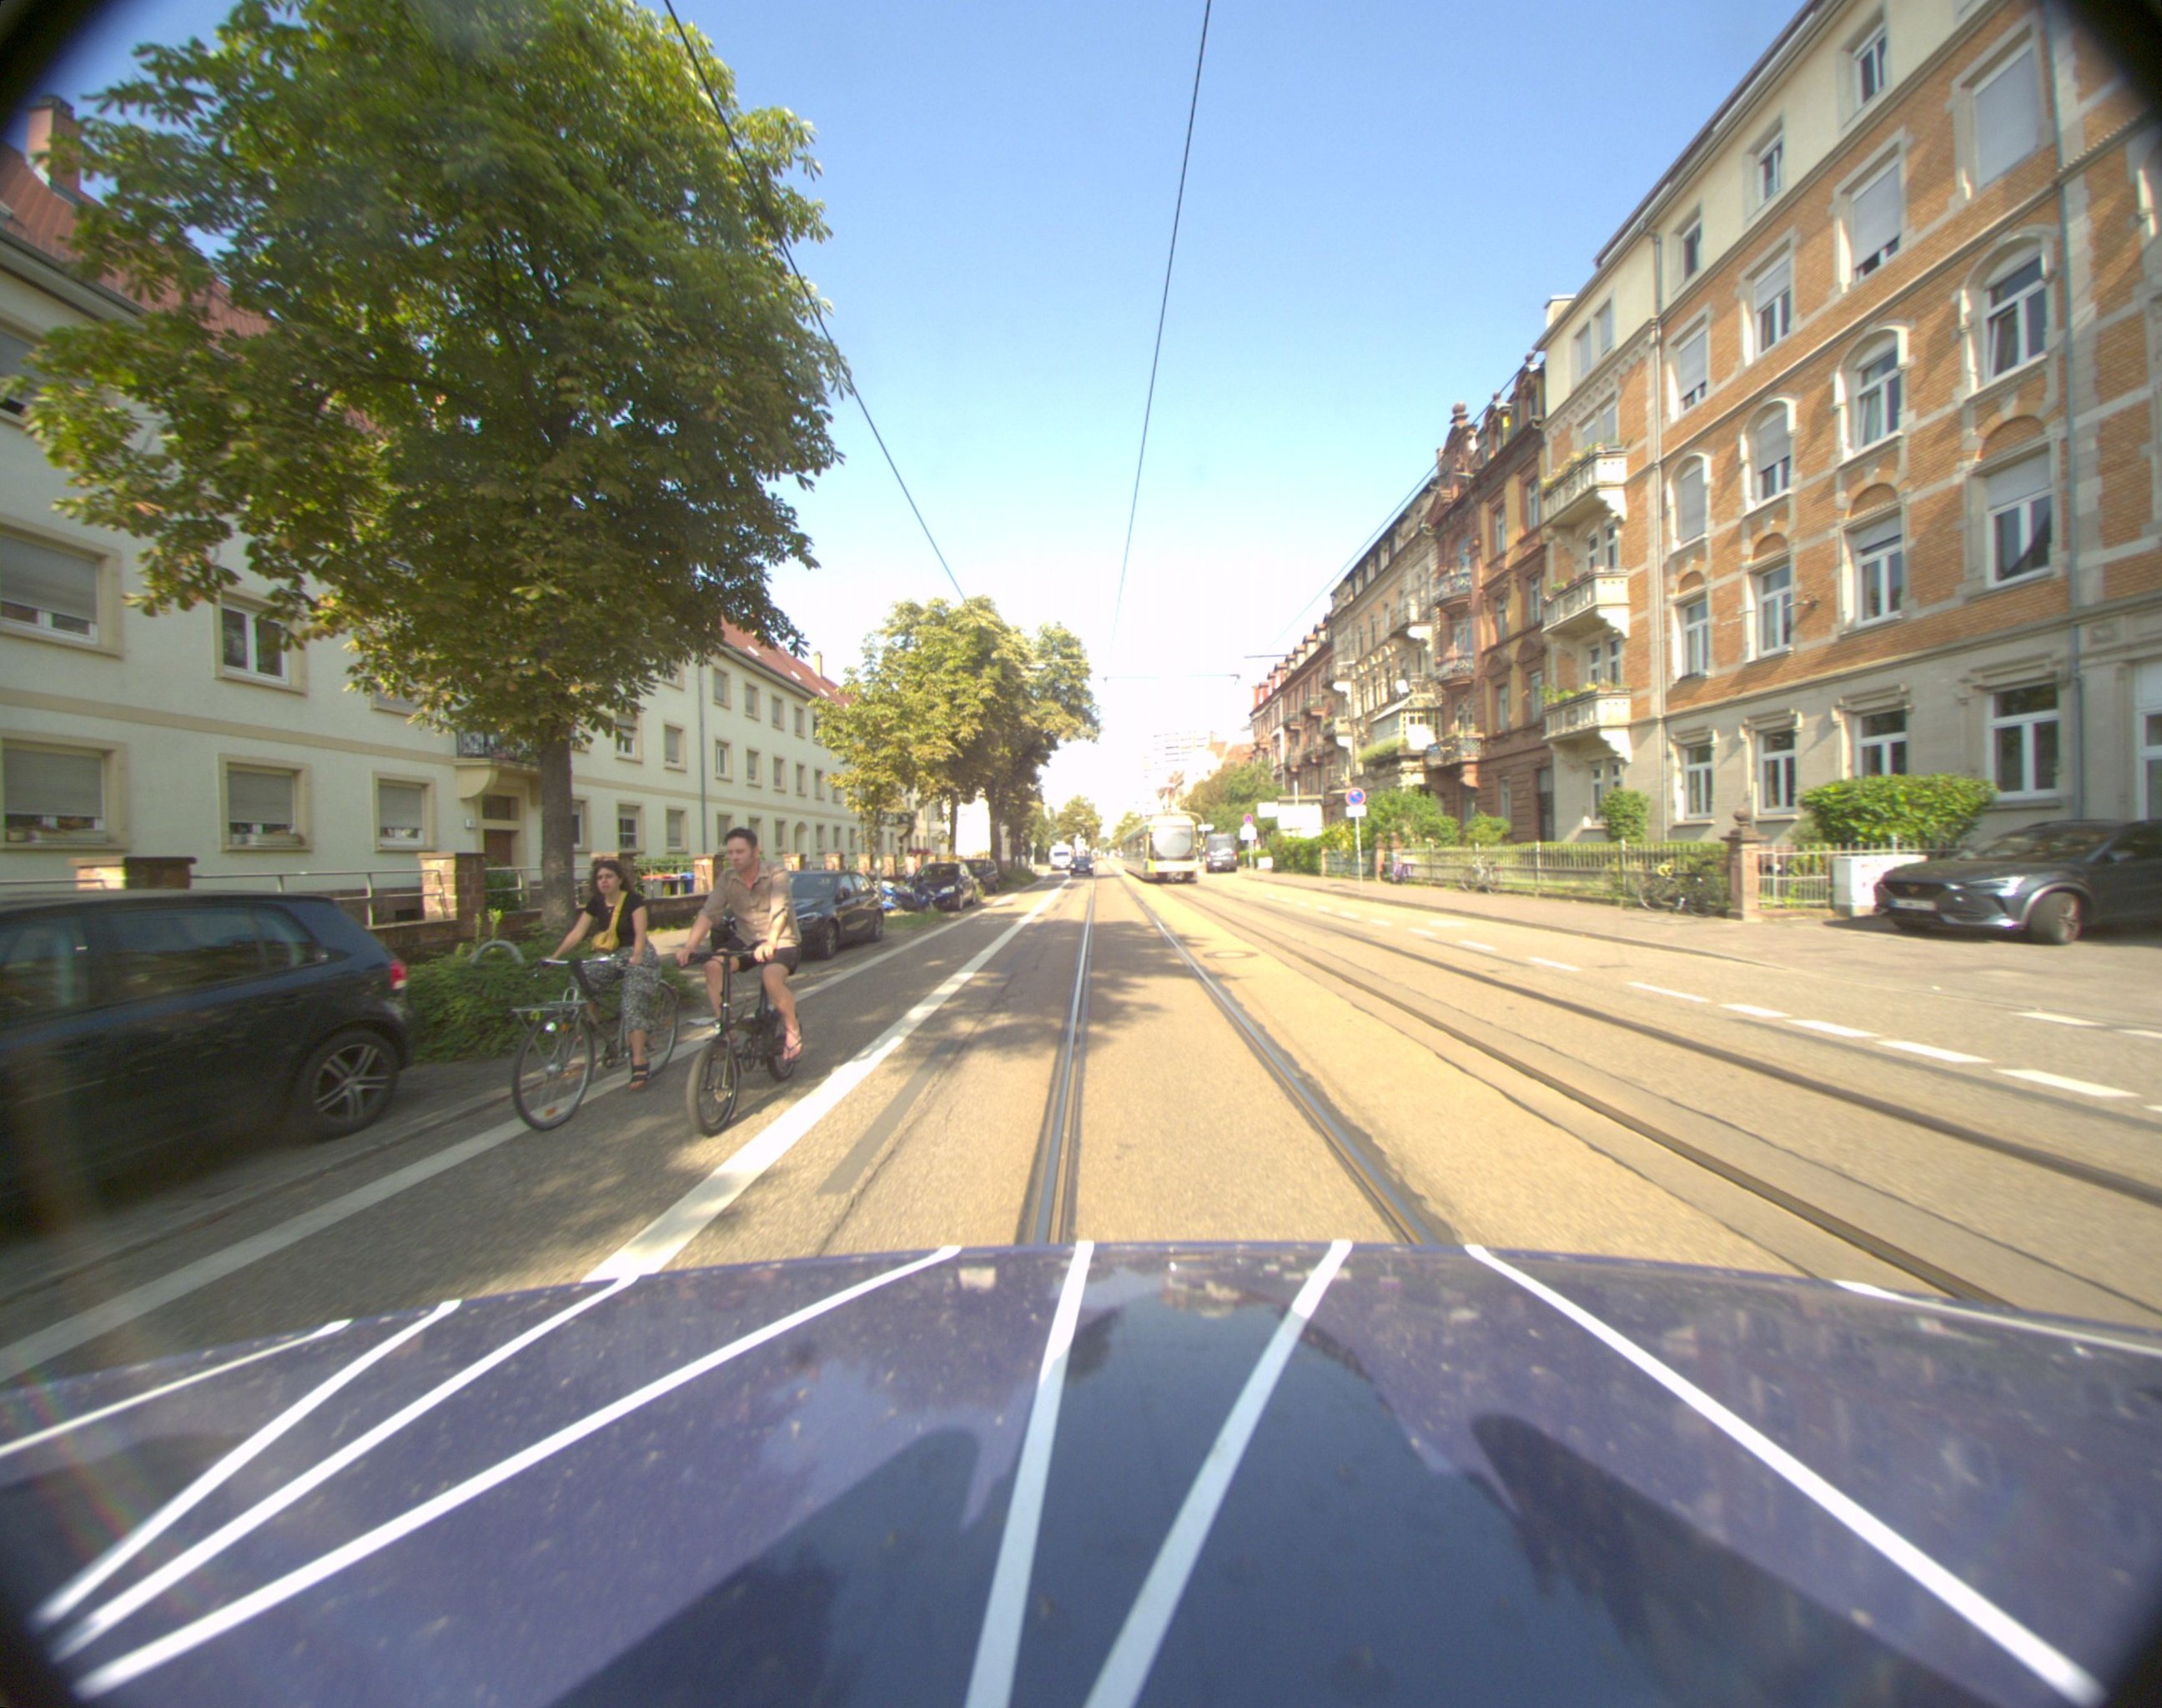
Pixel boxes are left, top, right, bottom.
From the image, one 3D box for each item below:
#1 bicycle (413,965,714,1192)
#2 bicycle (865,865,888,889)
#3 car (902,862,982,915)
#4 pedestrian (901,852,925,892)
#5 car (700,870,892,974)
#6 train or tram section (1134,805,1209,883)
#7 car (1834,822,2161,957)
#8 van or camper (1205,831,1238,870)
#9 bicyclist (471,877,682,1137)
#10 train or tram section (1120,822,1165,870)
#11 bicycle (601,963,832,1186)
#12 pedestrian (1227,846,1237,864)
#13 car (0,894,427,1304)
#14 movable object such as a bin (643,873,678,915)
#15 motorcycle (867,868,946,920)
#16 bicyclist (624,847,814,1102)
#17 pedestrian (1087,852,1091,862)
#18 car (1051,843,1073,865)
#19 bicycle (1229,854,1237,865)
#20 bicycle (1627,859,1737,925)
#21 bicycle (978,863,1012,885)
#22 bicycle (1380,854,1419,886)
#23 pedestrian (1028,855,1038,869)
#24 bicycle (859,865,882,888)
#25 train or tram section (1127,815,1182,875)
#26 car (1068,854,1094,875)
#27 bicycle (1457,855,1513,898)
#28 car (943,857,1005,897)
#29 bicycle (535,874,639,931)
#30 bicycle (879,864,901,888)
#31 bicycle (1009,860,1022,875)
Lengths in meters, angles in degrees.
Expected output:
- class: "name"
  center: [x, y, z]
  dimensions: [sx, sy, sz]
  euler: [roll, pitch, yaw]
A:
- class: "bicycle"
  center: [-3.176, 1.322, 4.923]
  dimensions: [0.656, 0.903, 1.775]
  euler: [-3, 0, 1]
- class: "bicycle"
  center: [-9.695, 1.097, 36.120]
  dimensions: [0.525, 1.067, 1.728]
  euler: [-2, 0, 2]
- class: "car"
  center: [-4.334, 1.038, 24.250]
  dimensions: [1.649, 1.440, 4.246]
  euler: [0, 1, 2]
- class: "pedestrian"
  center: [-7.595, 0.798, 34.404]
  dimensions: [0.754, 1.739, 0.879]
  euler: [-2, 1, 8]
- class: "car"
  center: [-4.809, 1.064, 13.541]
  dimensions: [1.694, 1.426, 4.336]
  euler: [1, 0, 1]
- class: "train or tram section"
  center: [4.515, -0.492, 40.214]
  dimensions: [2.741, 3.485, 10.775]
  euler: [-2, 0, 1]
- class: "car"
  center: [13.373, 0.398, 10.359]
  dimensions: [4.147, 1.534, 2.064]
  euler: [-2, 1, 1]
- class: "van or camper"
  center: [10.040, -0.301, 54.591]
  dimensions: [2.054, 2.629, 6.093]
  euler: [-1, 1, 8]
- class: "bicyclist"
  center: [-3.208, 0.917, 4.932]
  dimensions: [0.656, 1.465, 0.908]
  euler: [-3, 1, 1]
- class: "train or tram section"
  center: [4.944, -0.635, 64.109]
  dimensions: [2.741, 3.485, 15.432]
  euler: [-2, 0, 1]
- class: "bicycle"
  center: [-2.147, 1.263, 4.722]
  dimensions: [0.628, 0.903, 1.525]
  euler: [-3, 1, 1]
- class: "pedestrian"
  center: [13.487, 0.089, 67.952]
  dimensions: [0.639, 1.668, 0.633]
  euler: [-2, 0, -10]
- class: "car"
  center: [-5.144, 1.037, 2.901]
  dimensions: [1.694, 1.493, 4.095]
  euler: [1, 1, 1]
- class: "movable object such as a bin"
  center: [-11.228, 1.055, 20.292]
  dimensions: [0.507, 1.063, 0.660]
  euler: [-1, 1, 2]
- class: "motorcycle"
  center: [-4.608, 1.068, 20.169]
  dimensions: [1.859, 1.281, 0.705]
  euler: [2, -4, -1]
- class: "bicyclist"
  center: [-2.182, 0.672, 4.703]
  dimensions: [0.628, 1.393, 0.929]
  euler: [-3, 1, 1]
- class: "pedestrian"
  center: [1.263, 0.460, 115.893]
  dimensions: [0.590, 1.535, 0.607]
  euler: [-2, 0, 4]
- class: "car"
  center: [-1.989, 0.039, 81.765]
  dimensions: [2.087, 2.264, 4.827]
  euler: [-2, 0, 2]
- class: "bicycle"
  center: [13.681, 0.501, 68.502]
  dimensions: [0.527, 0.922, 1.703]
  euler: [-2, 0, 5]
- class: "bicycle"
  center: [10.925, 0.653, 13.886]
  dimensions: [0.546, 1.052, 1.840]
  euler: [-5, 0, 3]
- class: "bicycle"
  center: [-4.371, 1.006, 38.641]
  dimensions: [0.524, 1.067, 1.732]
  euler: [-1, 1, 43]
- class: "bicycle"
  center: [11.226, 0.540, 26.843]
  dimensions: [0.608, 1.052, 1.840]
  euler: [-5, 0, 3]
- class: "pedestrian"
  center: [-6.155, 0.984, 97.657]
  dimensions: [1.079, 1.714, 0.969]
  euler: [2, 0, 0]
- class: "bicycle"
  center: [-10.142, 1.076, 36.637]
  dimensions: [0.525, 1.067, 1.728]
  euler: [-2, 0, 2]
- class: "train or tram section"
  center: [4.726, -0.544, 51.000]
  dimensions: [2.741, 3.485, 10.775]
  euler: [-2, 0, 1]
- class: "car"
  center: [0.021, 0.752, 55.639]
  dimensions: [1.775, 1.459, 4.000]
  euler: [-3, 0, 0]
- class: "bicycle"
  center: [11.091, 0.594, 20.910]
  dimensions: [0.546, 1.052, 1.840]
  euler: [-5, 0, 3]
- class: "car"
  center: [-4.469, 0.940, 32.247]
  dimensions: [1.648, 1.531, 3.844]
  euler: [0, 1, 7]
- class: "bicycle"
  center: [-10.877, 1.033, 16.840]
  dimensions: [0.773, 1.097, 2.333]
  euler: [-2, 0, -1]
- class: "bicycle"
  center: [-9.084, 1.049, 36.138]
  dimensions: [0.525, 1.067, 1.728]
  euler: [-2, 0, 2]
- class: "bicycle"
  center: [-4.798, 0.981, 56.003]
  dimensions: [0.773, 1.097, 2.333]
  euler: [-2, 0, -1]
